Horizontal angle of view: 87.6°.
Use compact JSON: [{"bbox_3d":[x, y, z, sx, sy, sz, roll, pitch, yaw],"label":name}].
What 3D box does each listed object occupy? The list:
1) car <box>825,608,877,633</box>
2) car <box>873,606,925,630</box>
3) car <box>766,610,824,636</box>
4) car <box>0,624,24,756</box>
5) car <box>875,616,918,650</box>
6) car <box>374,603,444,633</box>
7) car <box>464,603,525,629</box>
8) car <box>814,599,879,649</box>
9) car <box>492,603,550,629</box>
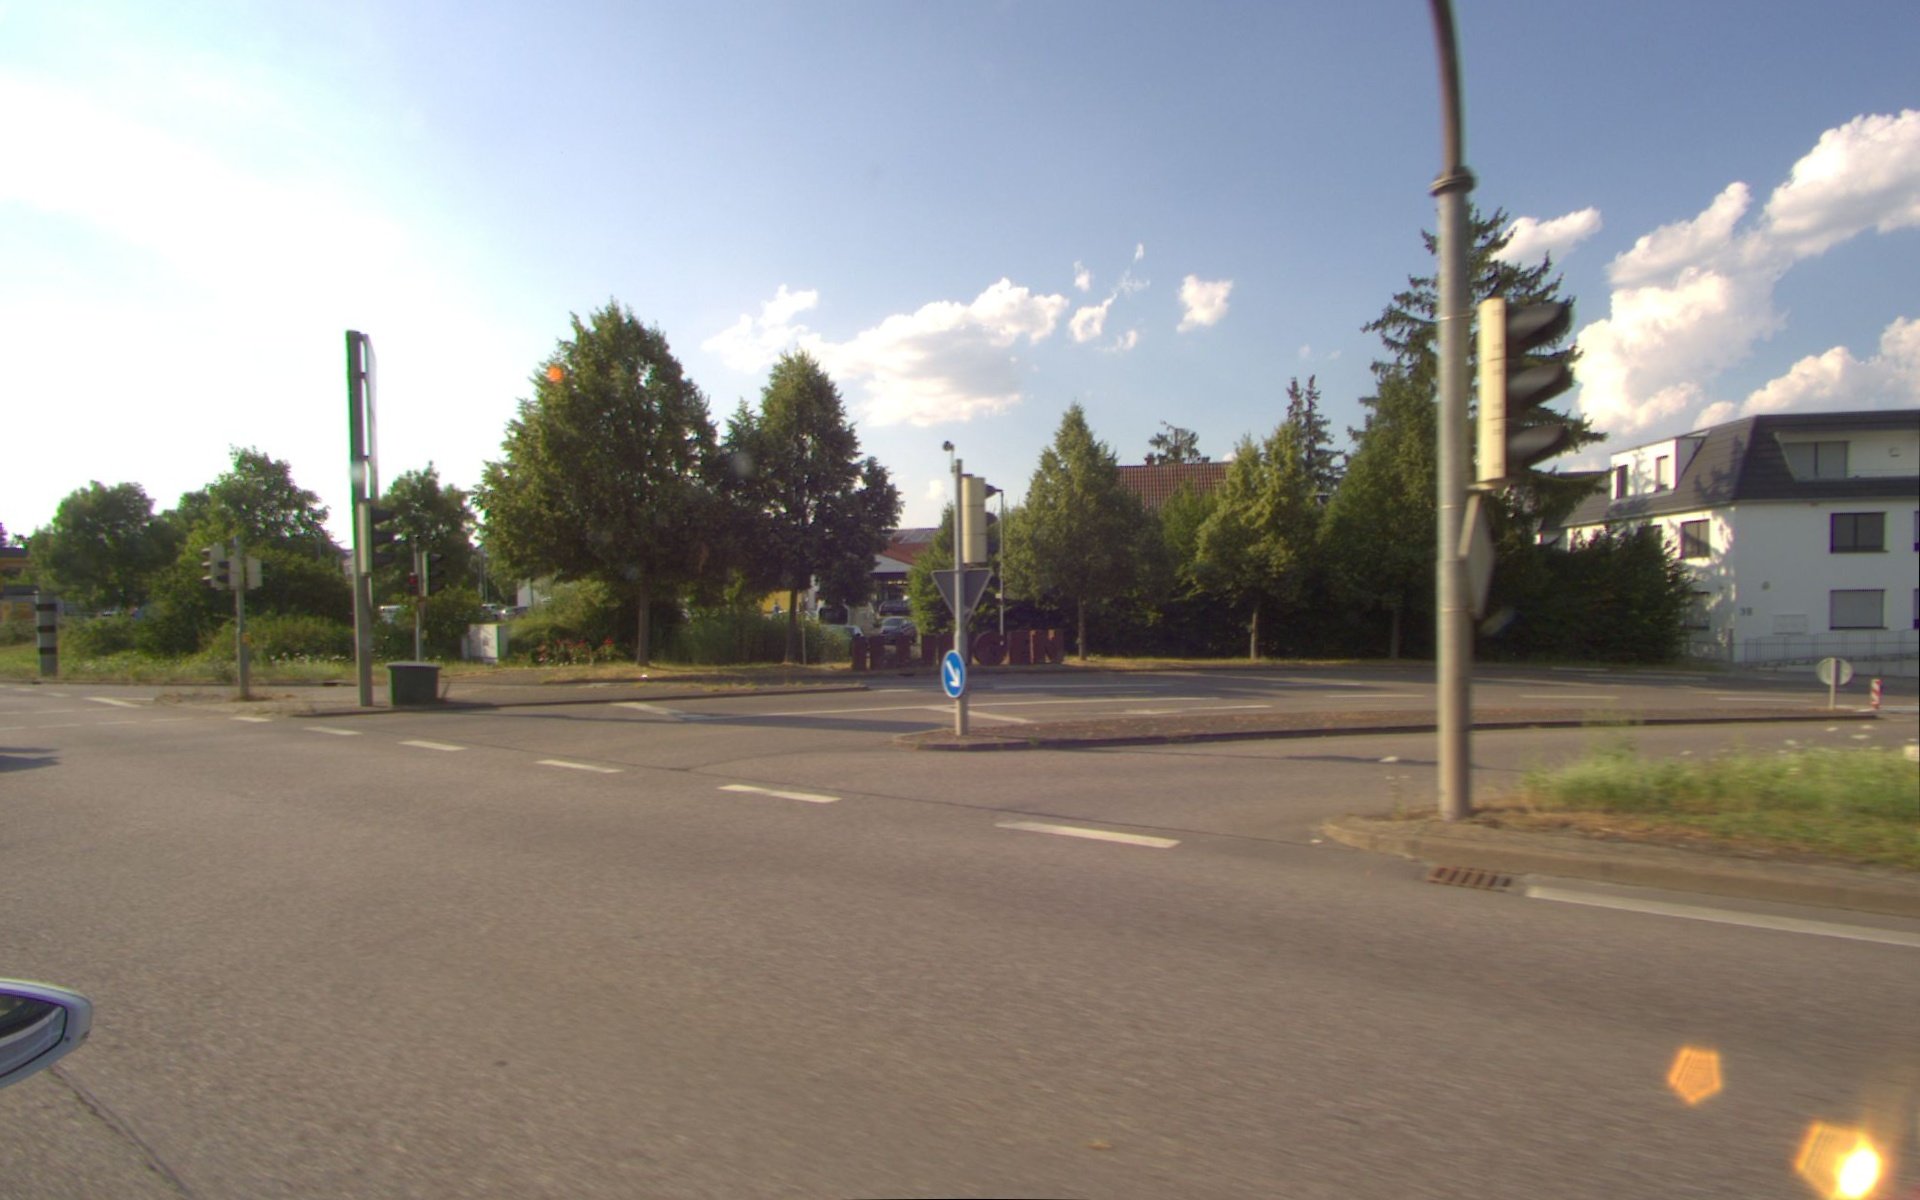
[{"bbox_3d":[-7.008,1.350,64.565,3.190,1.570,1.566,0,-2,2],"label":"car"},{"bbox_3d":[-4.436,1.336,73.407,3.501,1.649,1.718,-1,-2,10],"label":"car"},{"bbox_3d":[-9.934,1.402,60.403,3.073,1.528,1.578,-1,-2,20],"label":"car"},{"bbox_3d":[-13.225,1.047,11.480,4.225,1.516,1.792,-1,-2,17],"label":"car"},{"bbox_3d":[-3.806,2.022,60.573,1.425,1.978,3.998,-1,-2,14],"label":"car"},{"bbox_3d":[-39.410,1.299,71.766,1.930,2.039,4.657,-1,-2,9],"label":"car"},{"bbox_3d":[-38.770,1.355,83.544,1.963,2.039,4.930,-1,-3,15],"label":"car"},{"bbox_3d":[-5.964,1.301,53.349,1.962,2.538,5.139,-1,-2,11],"label":"car"},{"bbox_3d":[-36.438,1.378,83.234,1.963,2.039,4.671,-1,-3,15],"label":"car"}]
